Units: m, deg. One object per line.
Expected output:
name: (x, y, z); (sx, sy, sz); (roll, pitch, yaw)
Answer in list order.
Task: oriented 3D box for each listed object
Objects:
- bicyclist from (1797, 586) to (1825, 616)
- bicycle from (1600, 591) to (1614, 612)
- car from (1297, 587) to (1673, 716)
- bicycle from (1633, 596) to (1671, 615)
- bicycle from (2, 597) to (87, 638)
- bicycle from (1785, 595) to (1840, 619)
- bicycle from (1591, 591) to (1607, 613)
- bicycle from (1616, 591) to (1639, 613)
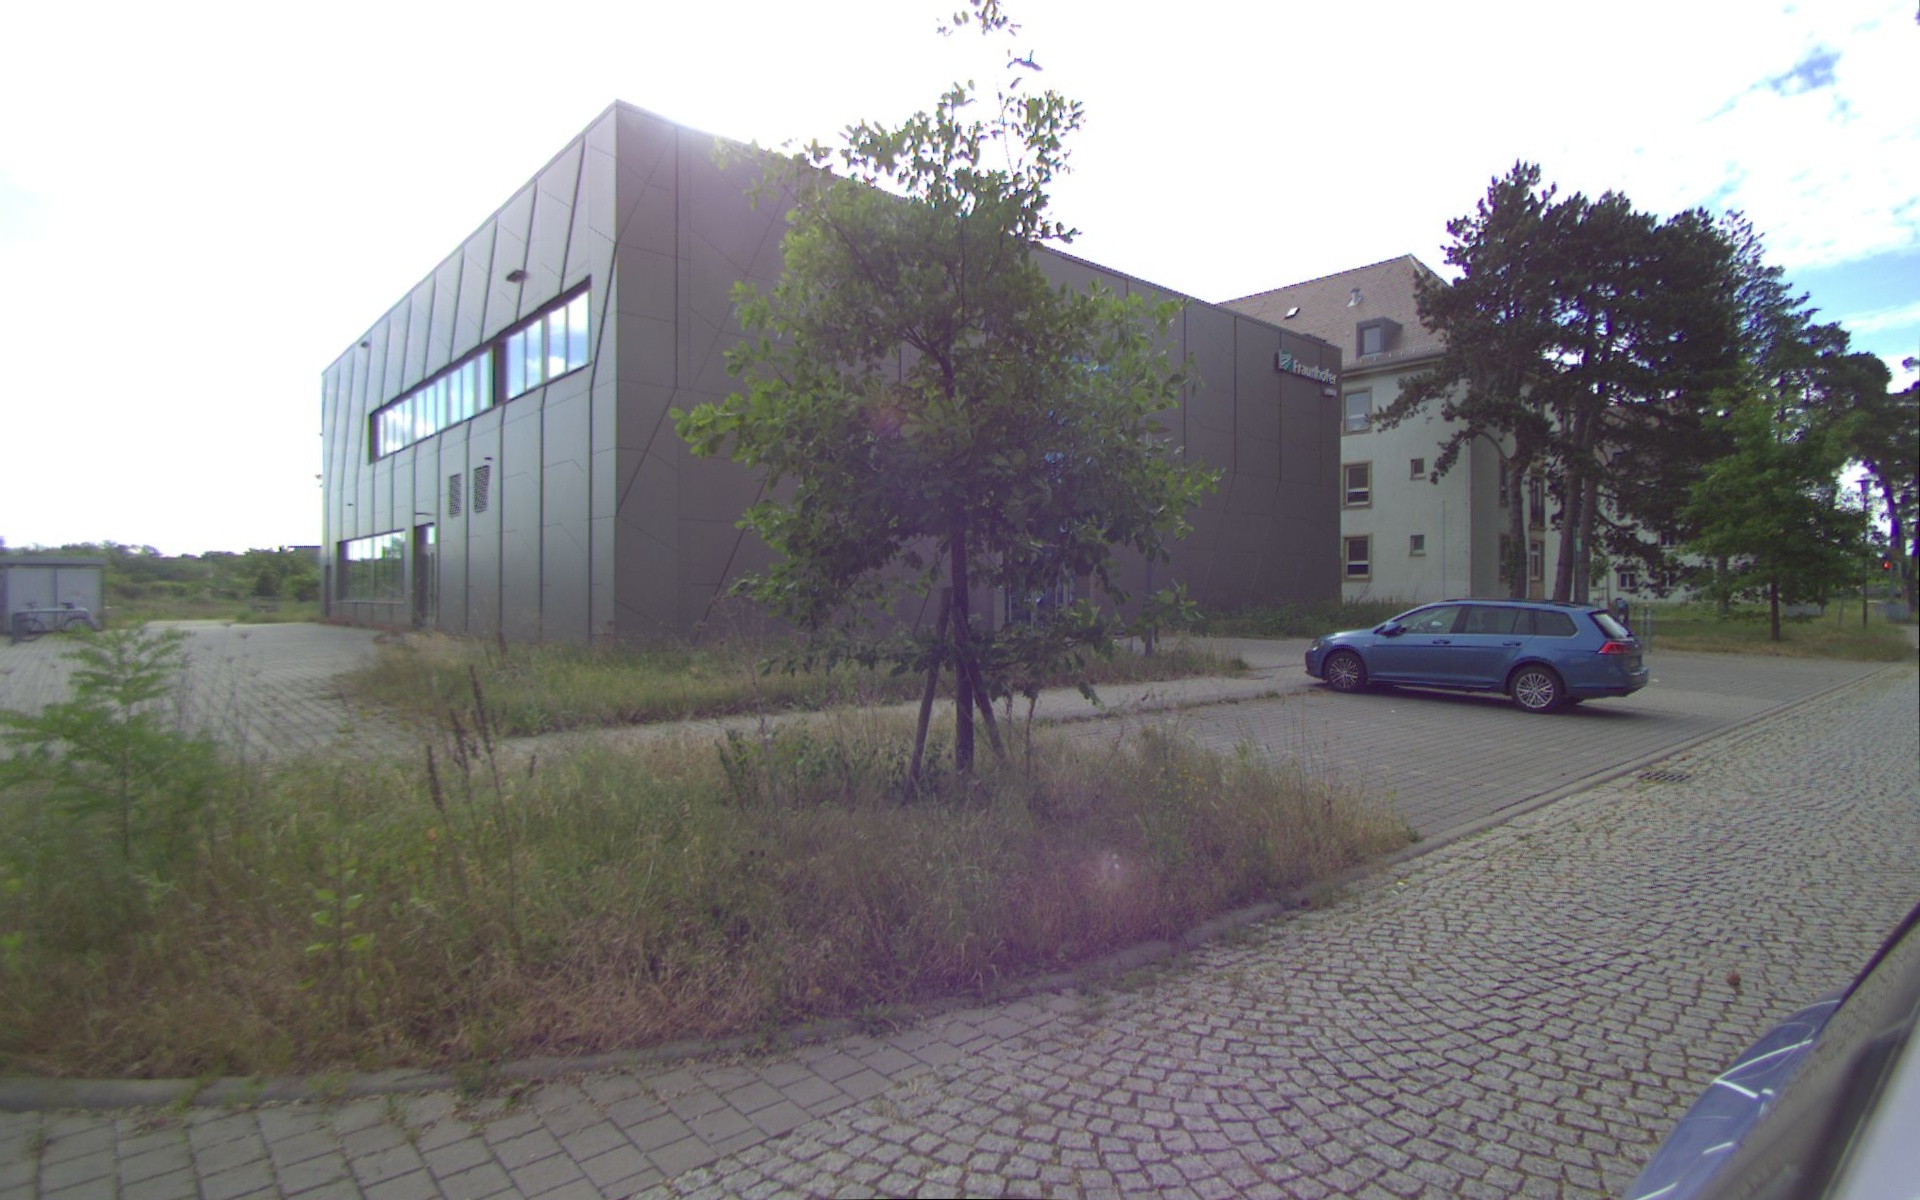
bicyclist: (47.557, 0.049, 56.537); (0.906, 1.656, 0.958); (0, 0, 20)
bicycle: (41.502, 0.107, 64.929); (0.480, 1.349, 1.809); (0, 0, 43)
car: (7.459, 0.607, 14.732); (1.794, 1.461, 4.525); (0, 2, -45)
bicycle: (42.237, 0.318, 61.772); (0.562, 1.098, 1.836); (-2, 1, -38)
bicycle: (-25.521, 0.480, 28.241); (1.733, 1.113, 0.521); (-1, -1, -41)
bicycle: (47.576, 0.370, 56.510); (2.137, 1.292, 0.958); (0, 0, 21)
bicycle: (41.224, 0.116, 65.261); (0.570, 1.349, 1.809); (0, 0, 43)
bicycle: (42.321, 0.111, 64.156); (1.803, 1.349, 0.573); (0, 0, -35)
